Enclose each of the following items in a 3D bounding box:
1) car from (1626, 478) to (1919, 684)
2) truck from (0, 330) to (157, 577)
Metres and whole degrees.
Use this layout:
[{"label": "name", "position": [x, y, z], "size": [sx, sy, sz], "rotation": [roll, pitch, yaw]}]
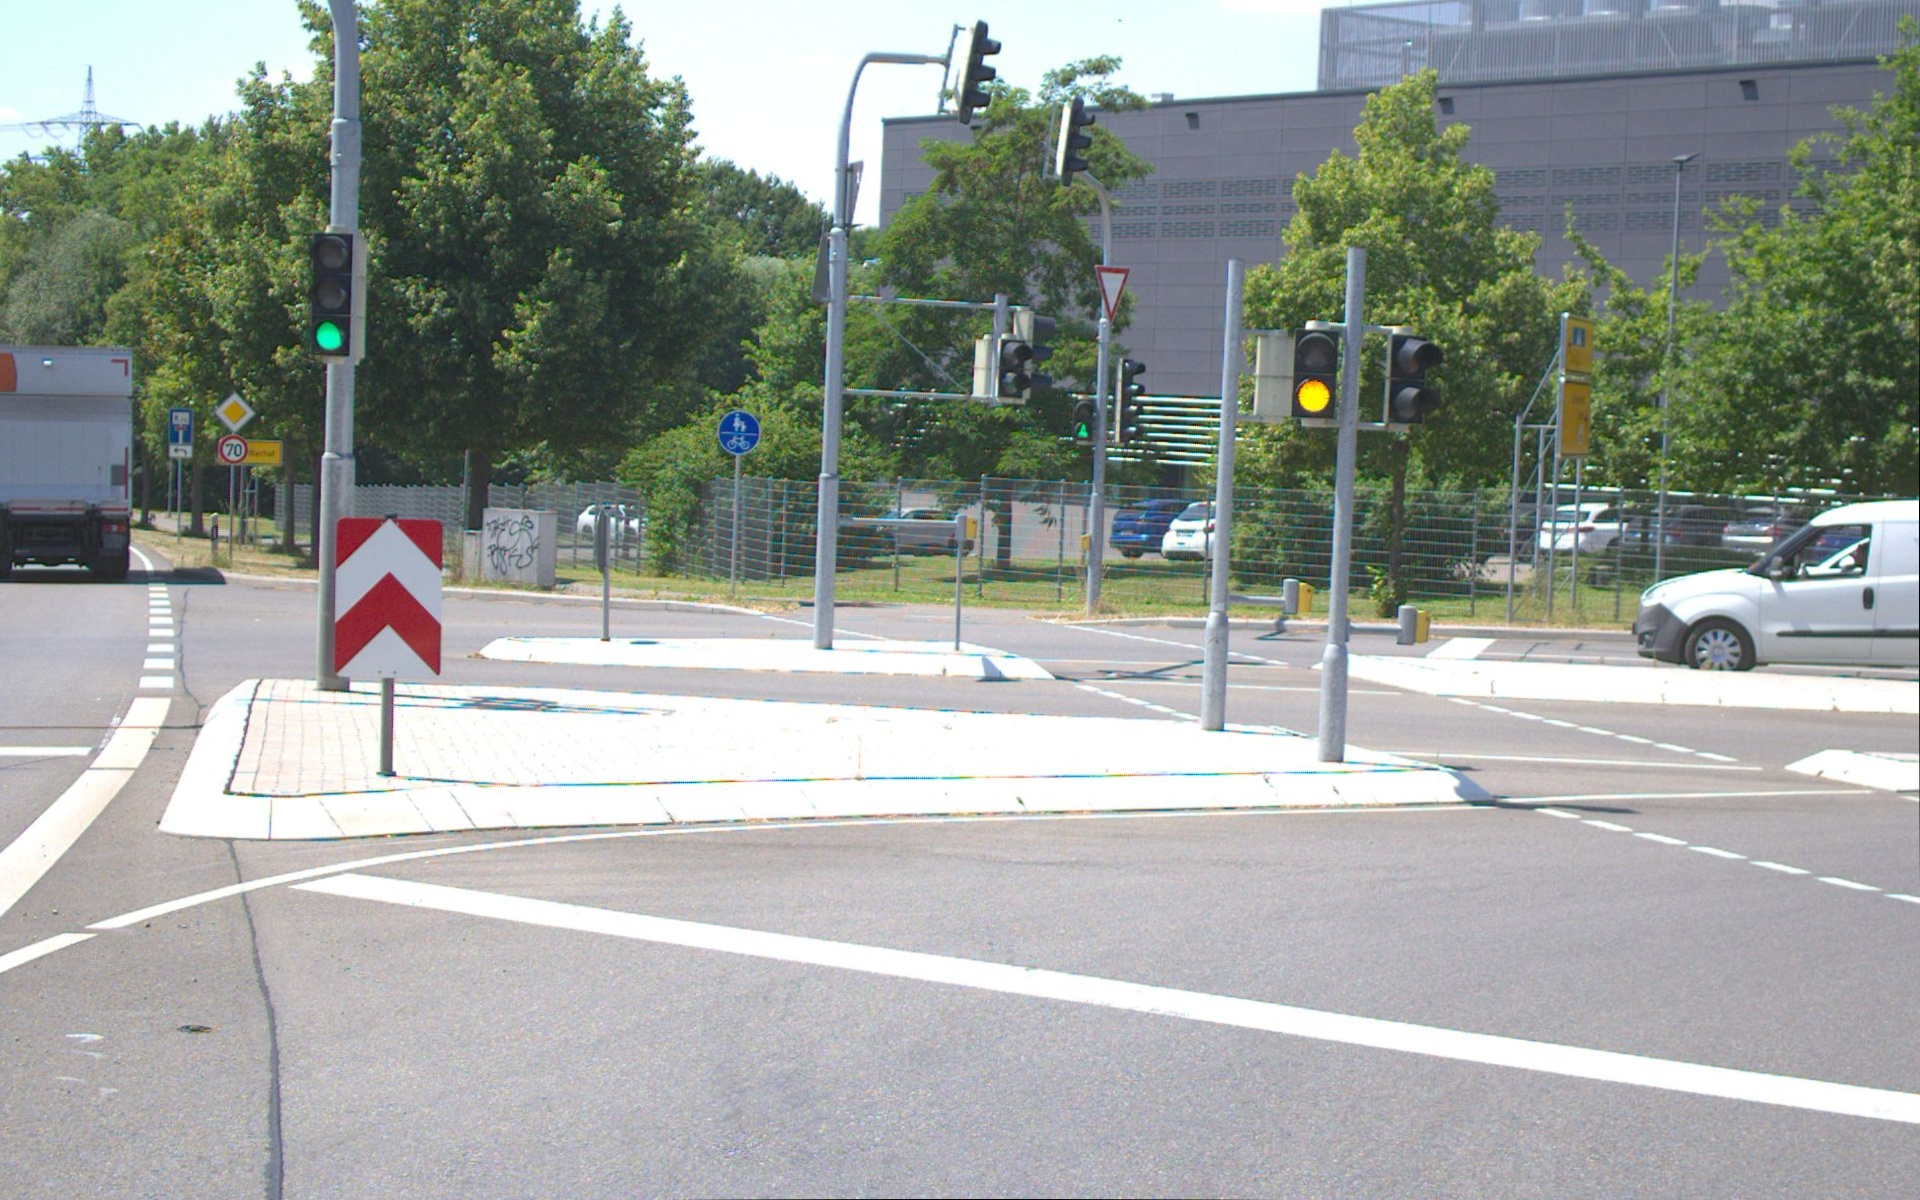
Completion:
[{"label": "car", "position": [9.175, -0.192, 34.144], "size": [4.749, 1.925, 2.152], "rotation": [2, 2, 18]}, {"label": "truck", "position": [-14.792, -2.438, 56.755], "size": [2.802, 3.698, 9.112], "rotation": [1, 2, -14]}]
